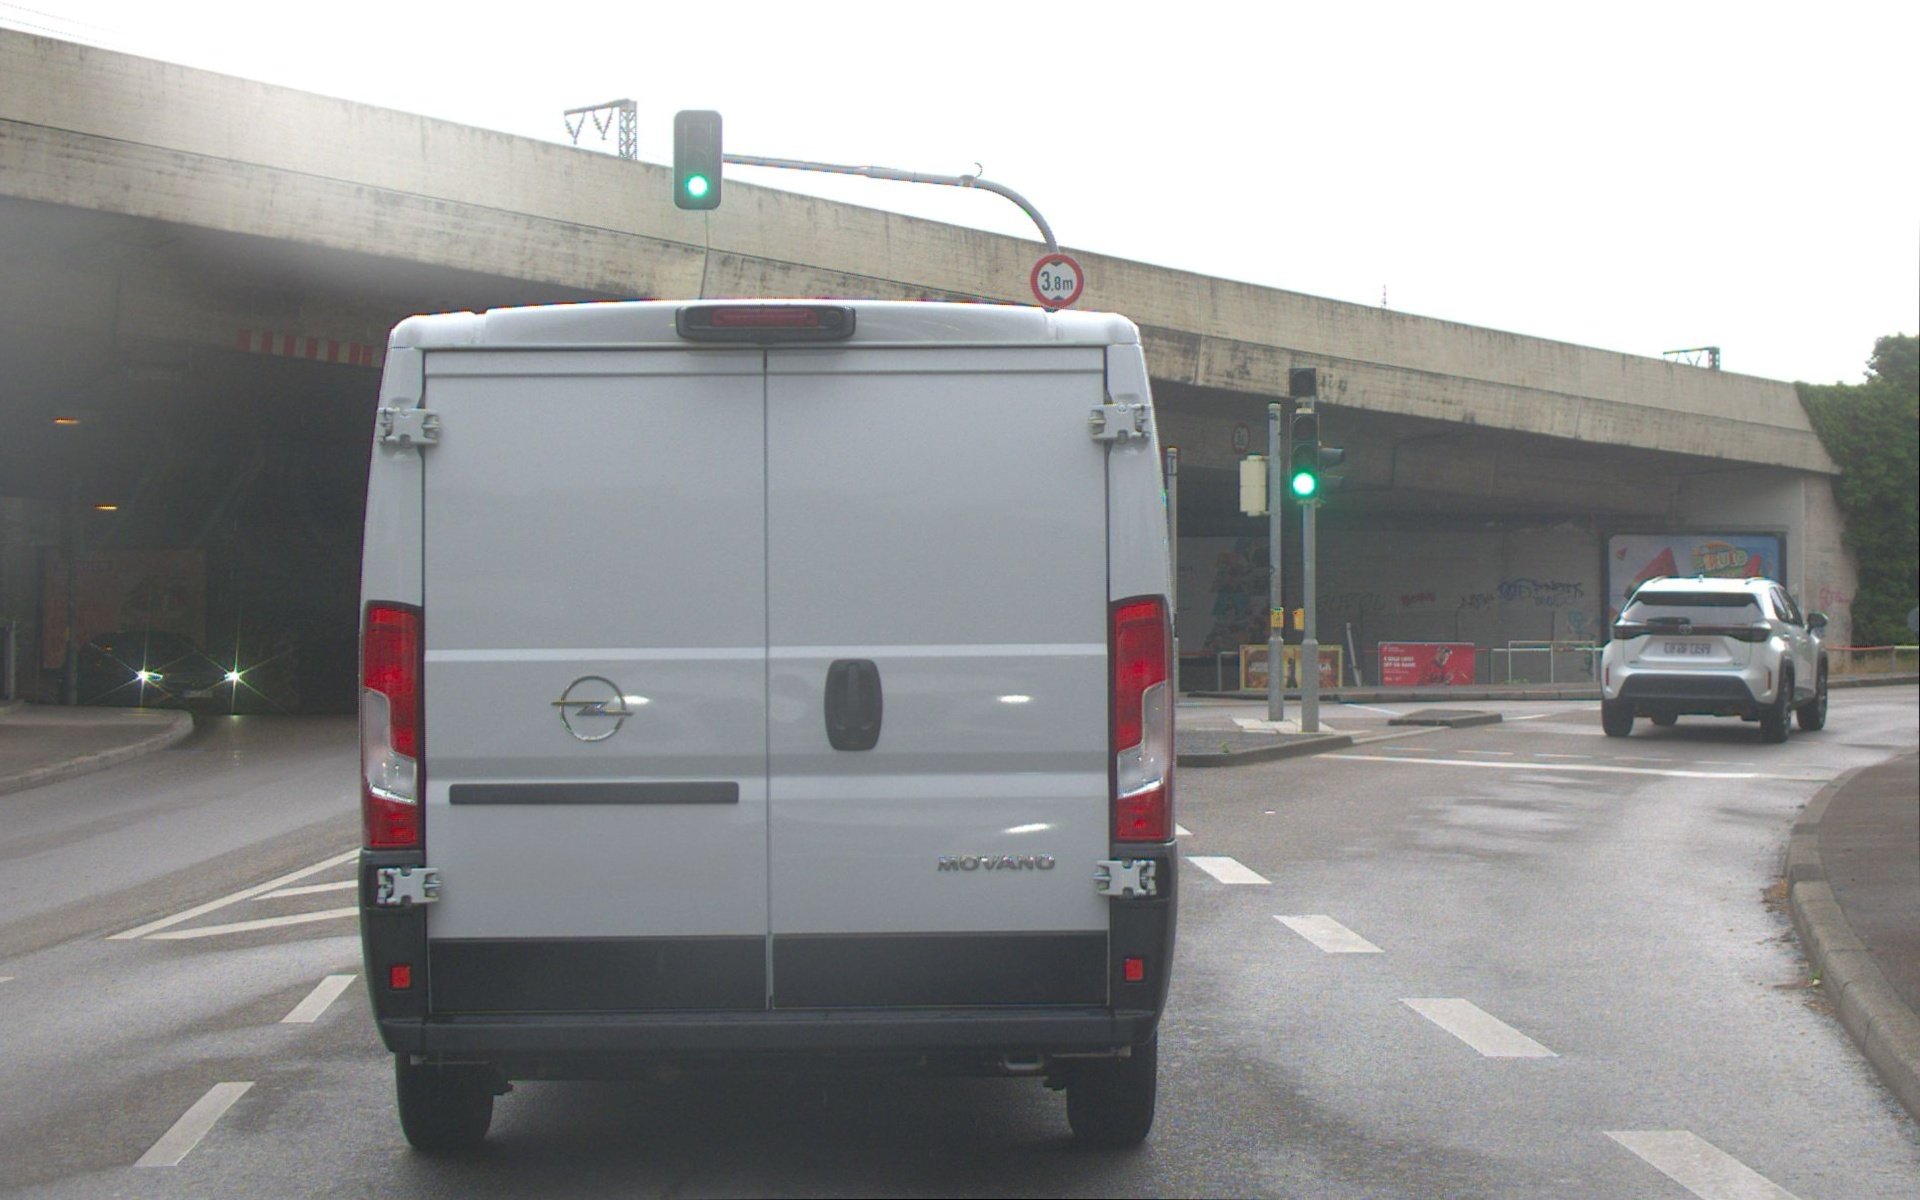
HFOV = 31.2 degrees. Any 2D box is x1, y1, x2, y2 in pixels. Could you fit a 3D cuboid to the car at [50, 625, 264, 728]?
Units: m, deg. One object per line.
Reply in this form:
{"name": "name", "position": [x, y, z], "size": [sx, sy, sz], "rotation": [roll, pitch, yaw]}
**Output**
{"name": "car", "position": [-13.140, 1.215, 56.068], "size": [1.993, 1.525, 4.500], "rotation": [1, 0, -33]}

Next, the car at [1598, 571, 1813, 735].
{"name": "car", "position": [7.464, 0.493, 34.180], "size": [1.877, 1.525, 3.997], "rotation": [0, 0, 15]}

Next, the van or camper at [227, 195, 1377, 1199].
{"name": "van or camper", "position": [-0.475, 0.258, 10.558], "size": [2.698, 2.408, 4.904], "rotation": [0, 0, -3]}
